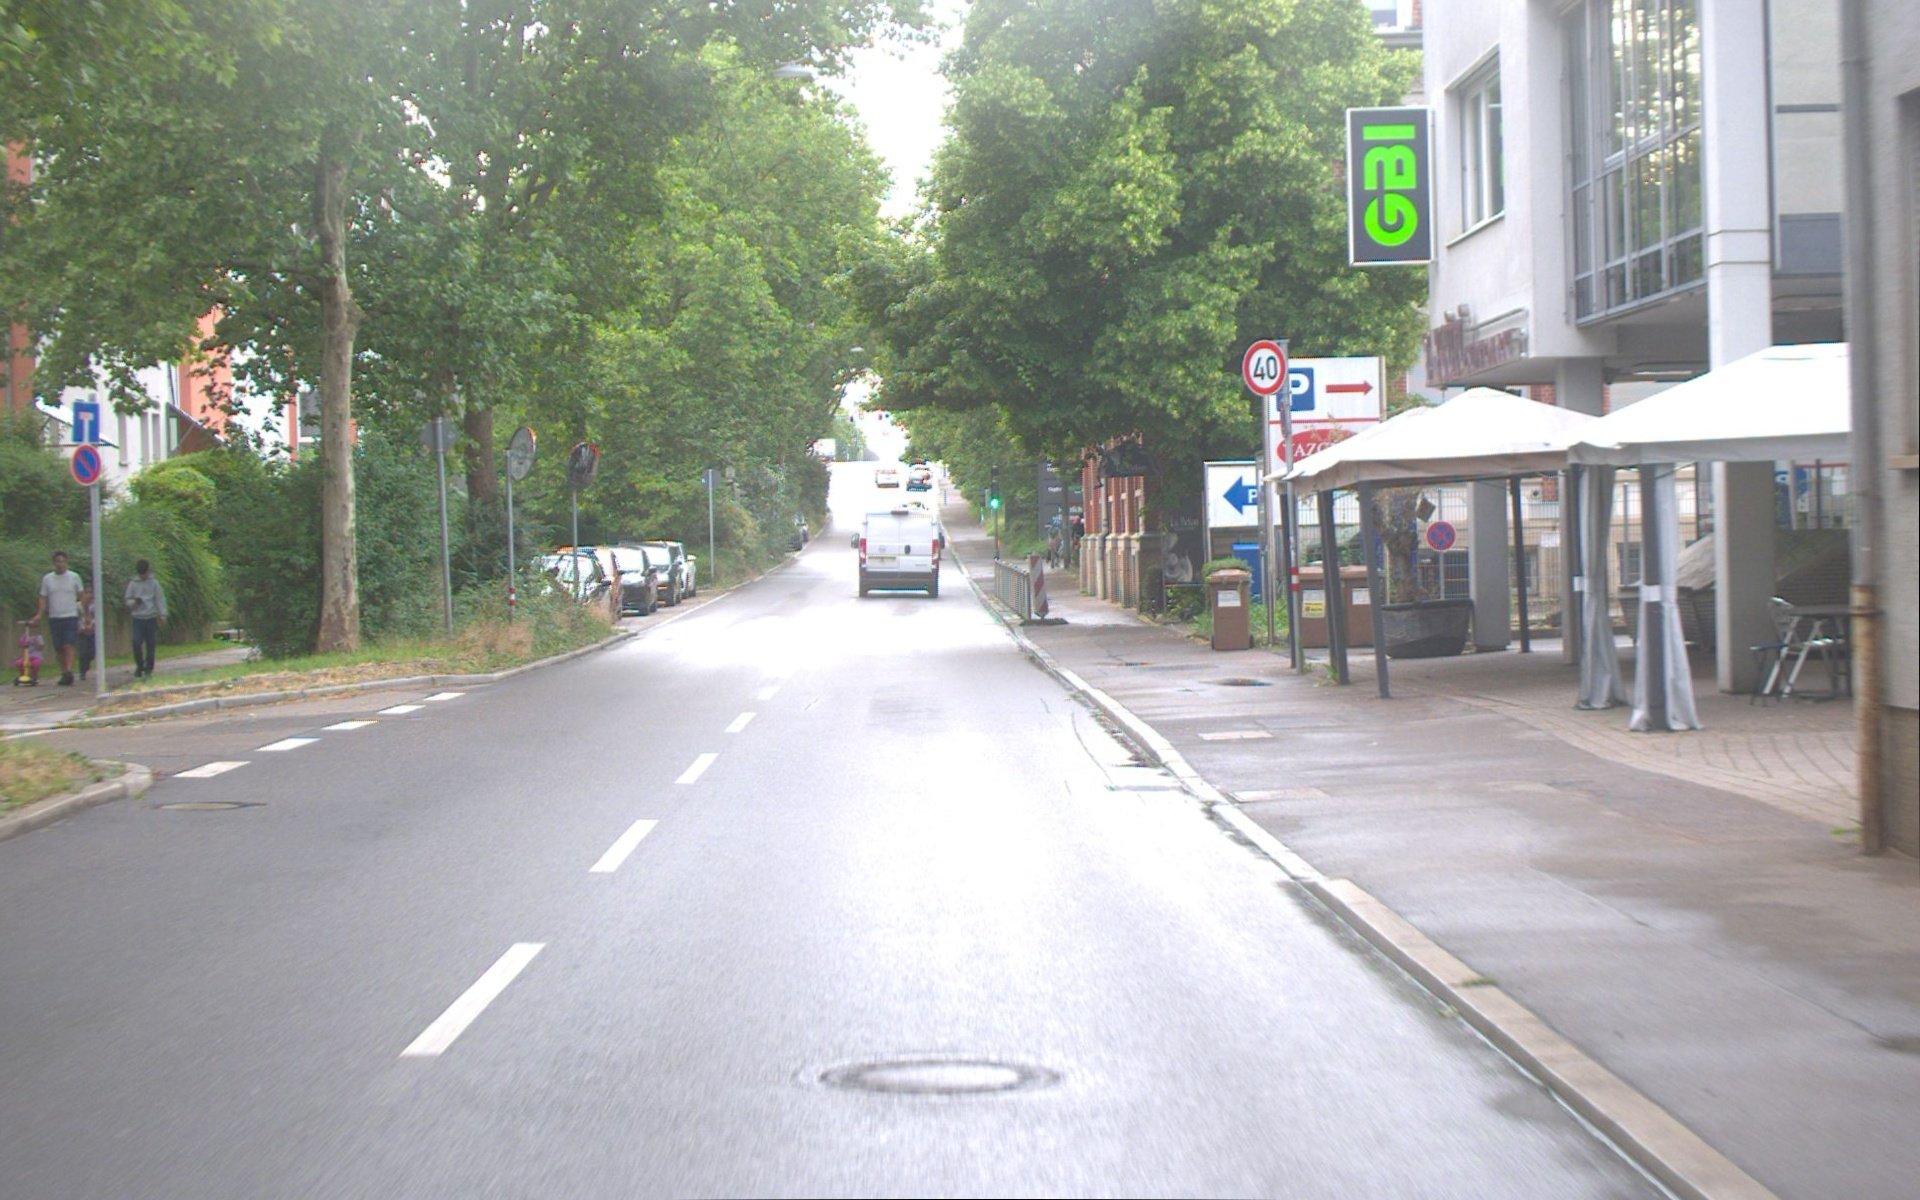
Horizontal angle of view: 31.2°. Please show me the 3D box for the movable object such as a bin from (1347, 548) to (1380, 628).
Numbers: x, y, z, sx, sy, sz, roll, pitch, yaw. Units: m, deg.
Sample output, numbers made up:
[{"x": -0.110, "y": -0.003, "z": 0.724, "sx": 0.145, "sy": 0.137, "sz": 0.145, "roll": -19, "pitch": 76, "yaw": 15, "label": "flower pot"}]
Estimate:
[{"x": 5.397, "y": -0.162, "z": 46.008, "sx": 0.356, "sy": 1.063, "sz": 0.358, "roll": 1, "pitch": -1, "yaw": -7, "label": "movable object such as a bin"}]

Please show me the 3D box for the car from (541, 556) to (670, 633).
[{"x": -7.674, "y": -0.099, "z": 74.881, "sx": 2.215, "sy": 1.587, "sz": 4.609, "roll": 1, "pitch": -1, "yaw": 1, "label": "car"}]

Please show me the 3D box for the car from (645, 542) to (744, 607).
[{"x": -7.229, "y": -0.677, "z": 94.033, "sx": 2.215, "sy": 1.685, "sz": 4.609, "roll": 1, "pitch": -1, "yaw": 1, "label": "car"}]

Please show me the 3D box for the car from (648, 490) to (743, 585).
[{"x": -7.580, "y": -1.776, "z": 98.976, "sx": 2.215, "sy": 2.525, "sz": 4.609, "roll": 1, "pitch": -1, "yaw": 1, "label": "car"}]

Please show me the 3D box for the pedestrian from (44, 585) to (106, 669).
[{"x": -11.784, "y": 0.356, "z": 45.802, "sx": 0.681, "sy": 1.104, "sz": 0.623, "roll": 1, "pitch": -1, "yaw": -3, "label": "pedestrian"}]

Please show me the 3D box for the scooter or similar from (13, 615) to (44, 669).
[{"x": -11.911, "y": 0.539, "z": 43.954, "sx": 0.307, "sy": 0.678, "sz": 0.388, "roll": 1, "pitch": -1, "yaw": -3, "label": "scooter or similar"}]

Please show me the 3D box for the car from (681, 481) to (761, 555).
[{"x": -7.914, "y": -2.698, "z": 114.178, "sx": 2.215, "sy": 2.286, "sz": 4.609, "roll": 1, "pitch": 0, "yaw": 1, "label": "car"}]

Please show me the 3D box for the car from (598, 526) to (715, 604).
[{"x": -7.149, "y": -0.805, "z": 81.363, "sx": 2.215, "sy": 1.723, "sz": 4.609, "roll": 1, "pitch": -1, "yaw": 1, "label": "car"}]

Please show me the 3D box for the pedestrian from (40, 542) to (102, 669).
[{"x": -11.376, "y": 0.076, "z": 43.997, "sx": 0.638, "sy": 1.606, "sz": 0.623, "roll": 1, "pitch": -1, "yaw": -3, "label": "pedestrian"}]

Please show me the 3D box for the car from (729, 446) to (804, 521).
[{"x": -6.766, "y": -4.077, "z": 120.812, "sx": 2.215, "sy": 2.286, "sz": 4.608, "roll": 1, "pitch": -2, "yaw": 1, "label": "car"}]

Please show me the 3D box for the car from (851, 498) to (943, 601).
[{"x": -1.600, "y": -1.266, "z": 88.507, "sx": 2.282, "sy": 2.544, "sz": 4.000, "roll": 0, "pitch": -1, "yaw": 0, "label": "car"}]

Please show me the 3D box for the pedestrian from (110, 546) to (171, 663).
[{"x": -11.078, "y": 0.061, "z": 46.495, "sx": 0.681, "sy": 1.565, "sz": 0.623, "roll": 1, "pitch": 0, "yaw": -3, "label": "pedestrian"}]

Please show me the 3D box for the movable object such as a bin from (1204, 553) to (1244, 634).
[{"x": 3.532, "y": -0.084, "z": 45.979, "sx": 0.399, "sy": 1.063, "sz": 0.358, "roll": -4, "pitch": 0, "yaw": -7, "label": "movable object such as a bin"}]

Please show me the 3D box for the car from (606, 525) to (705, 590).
[{"x": -7.755, "y": -1.064, "z": 87.954, "sx": 1.995, "sy": 1.538, "sz": 4.609, "roll": 1, "pitch": -1, "yaw": 1, "label": "car"}]

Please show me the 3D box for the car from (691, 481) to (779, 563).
[{"x": -6.778, "y": -2.338, "z": 104.139, "sx": 2.215, "sy": 2.286, "sz": 4.609, "roll": 1, "pitch": -1, "yaw": 1, "label": "car"}]

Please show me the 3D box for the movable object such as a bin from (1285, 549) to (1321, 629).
[{"x": 4.590, "y": -0.145, "z": 45.962, "sx": 0.399, "sy": 1.063, "sz": 0.358, "roll": 0, "pitch": -1, "yaw": -7, "label": "movable object such as a bin"}]

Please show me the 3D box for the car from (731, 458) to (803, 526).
[{"x": -7.162, "y": -4.000, "z": 128.103, "sx": 2.215, "sy": 2.286, "sz": 4.609, "roll": 1, "pitch": -1, "yaw": 2, "label": "car"}]
